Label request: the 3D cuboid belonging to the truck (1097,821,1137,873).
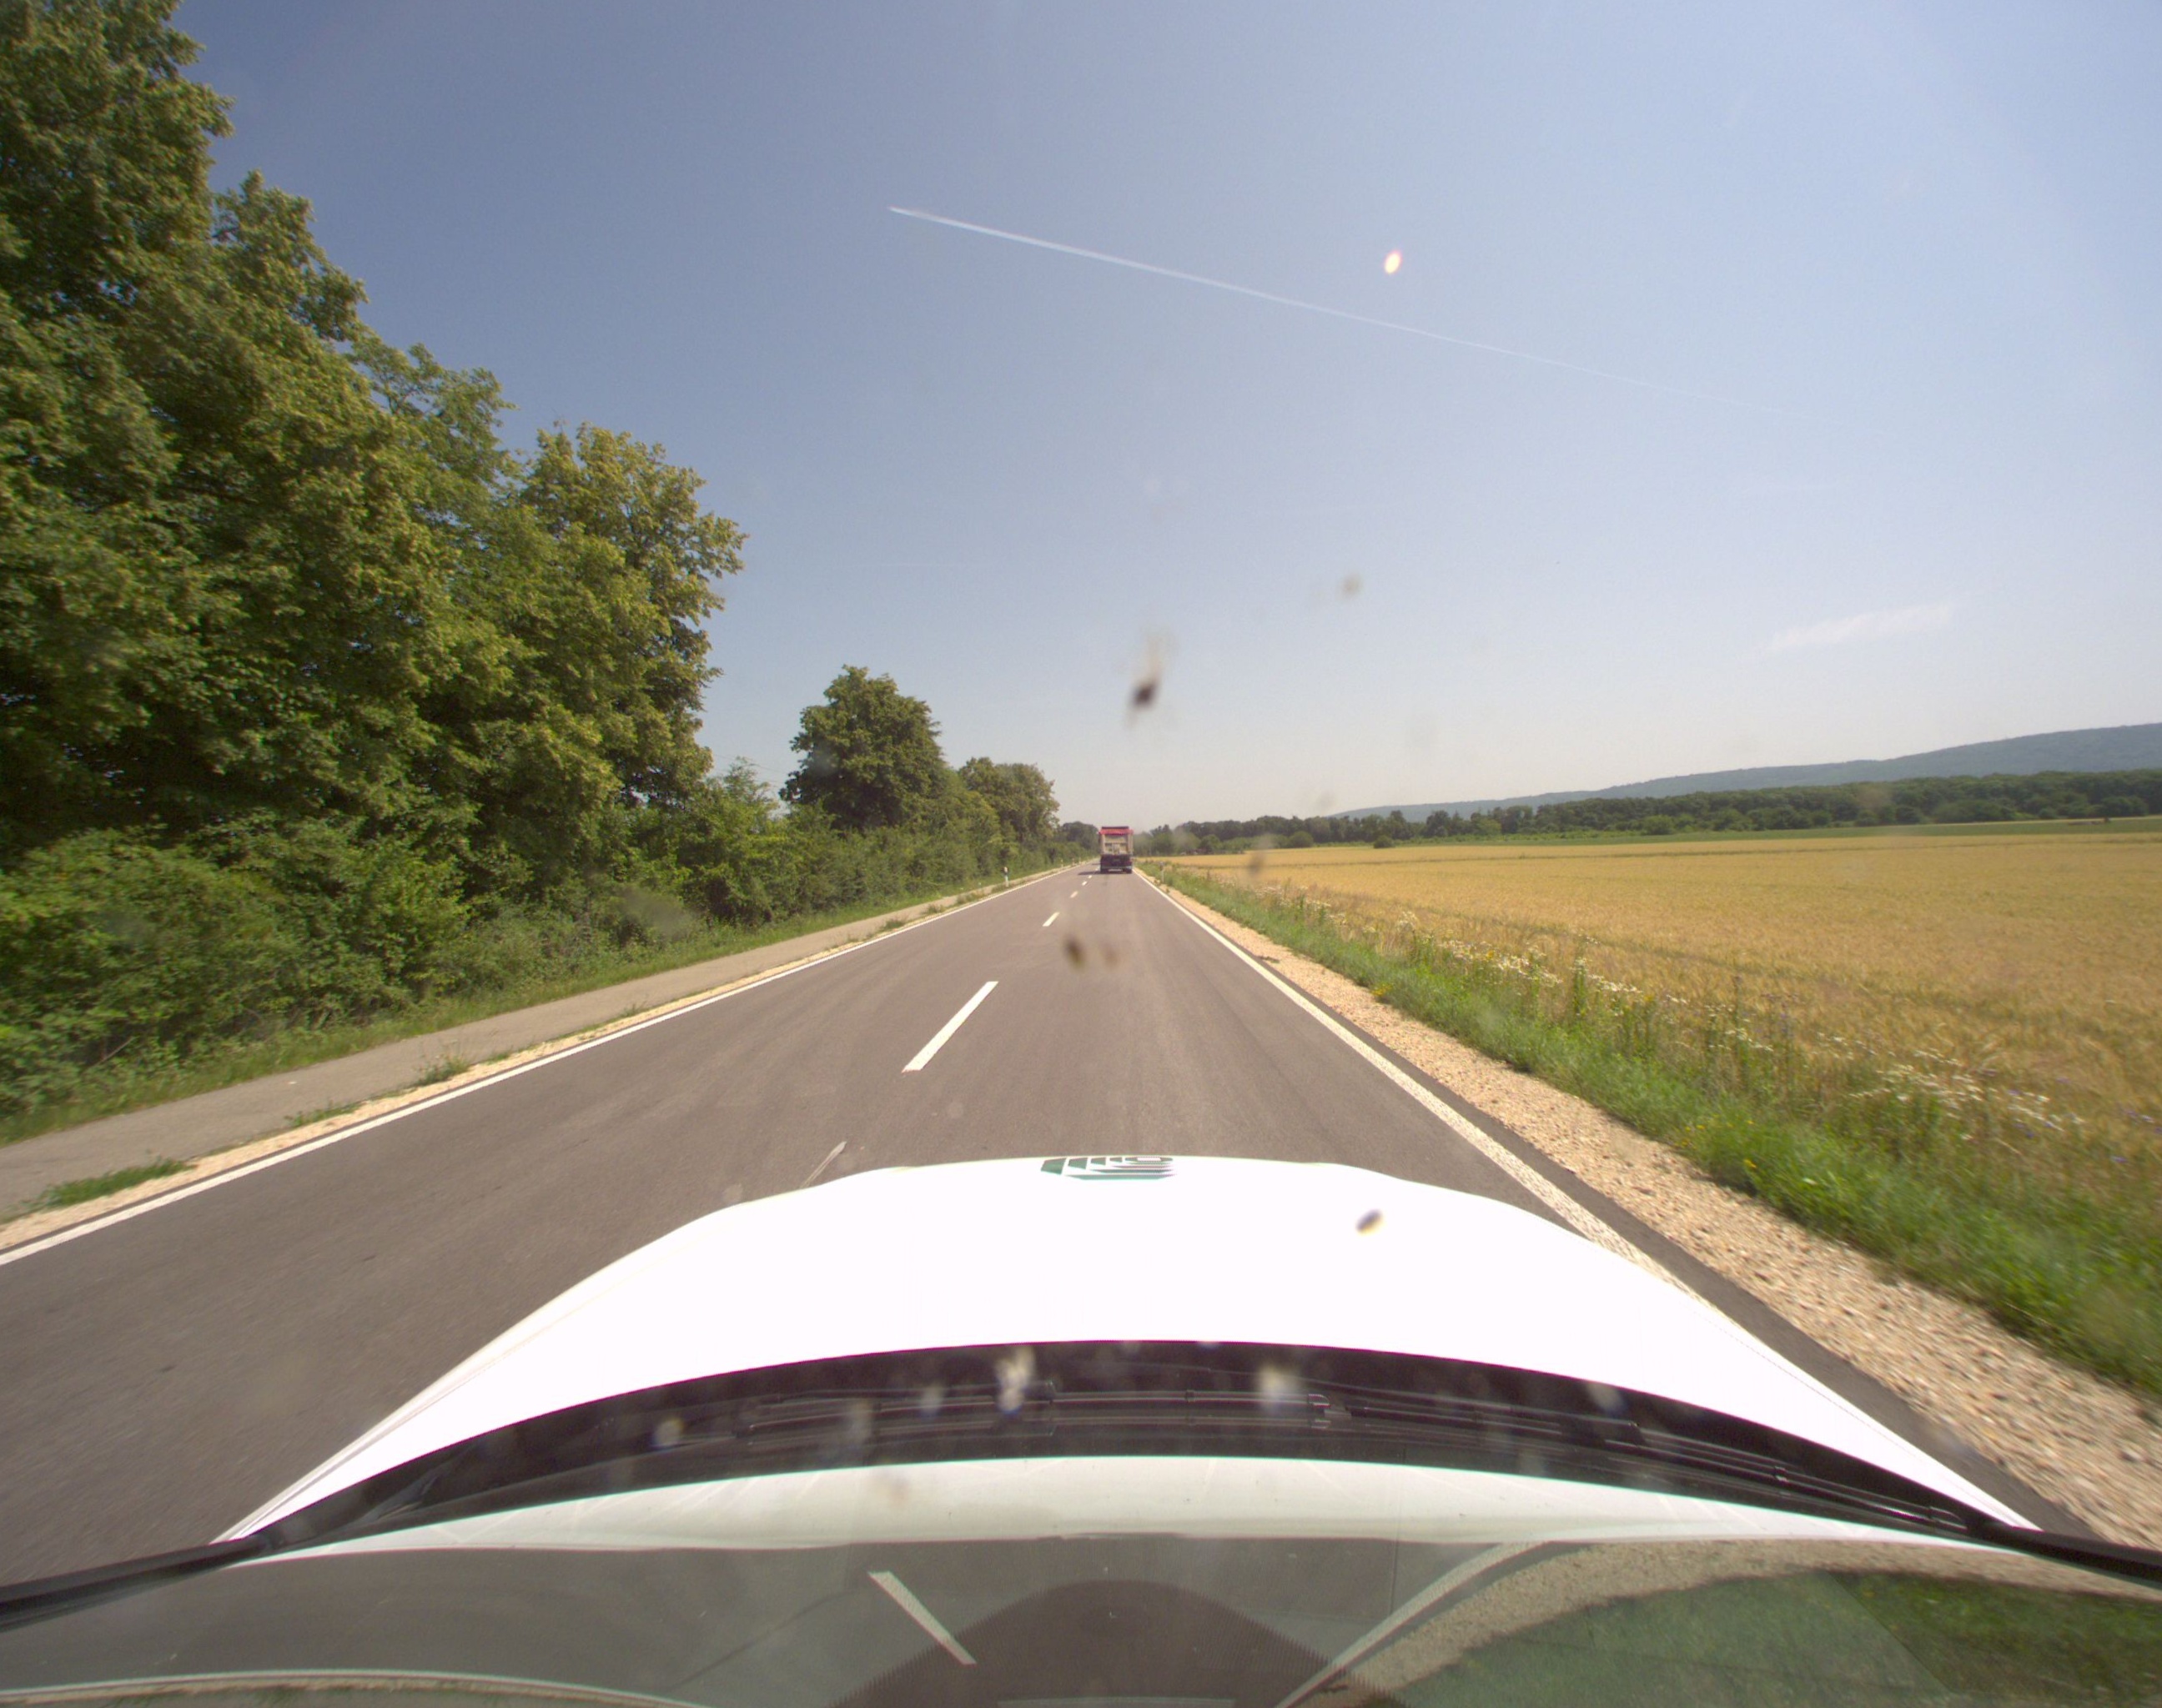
[{"bbox_3d":[2.955,-0.478,67.586,2.998,3.874,12.215,0,0,2],"label":"truck"}]
